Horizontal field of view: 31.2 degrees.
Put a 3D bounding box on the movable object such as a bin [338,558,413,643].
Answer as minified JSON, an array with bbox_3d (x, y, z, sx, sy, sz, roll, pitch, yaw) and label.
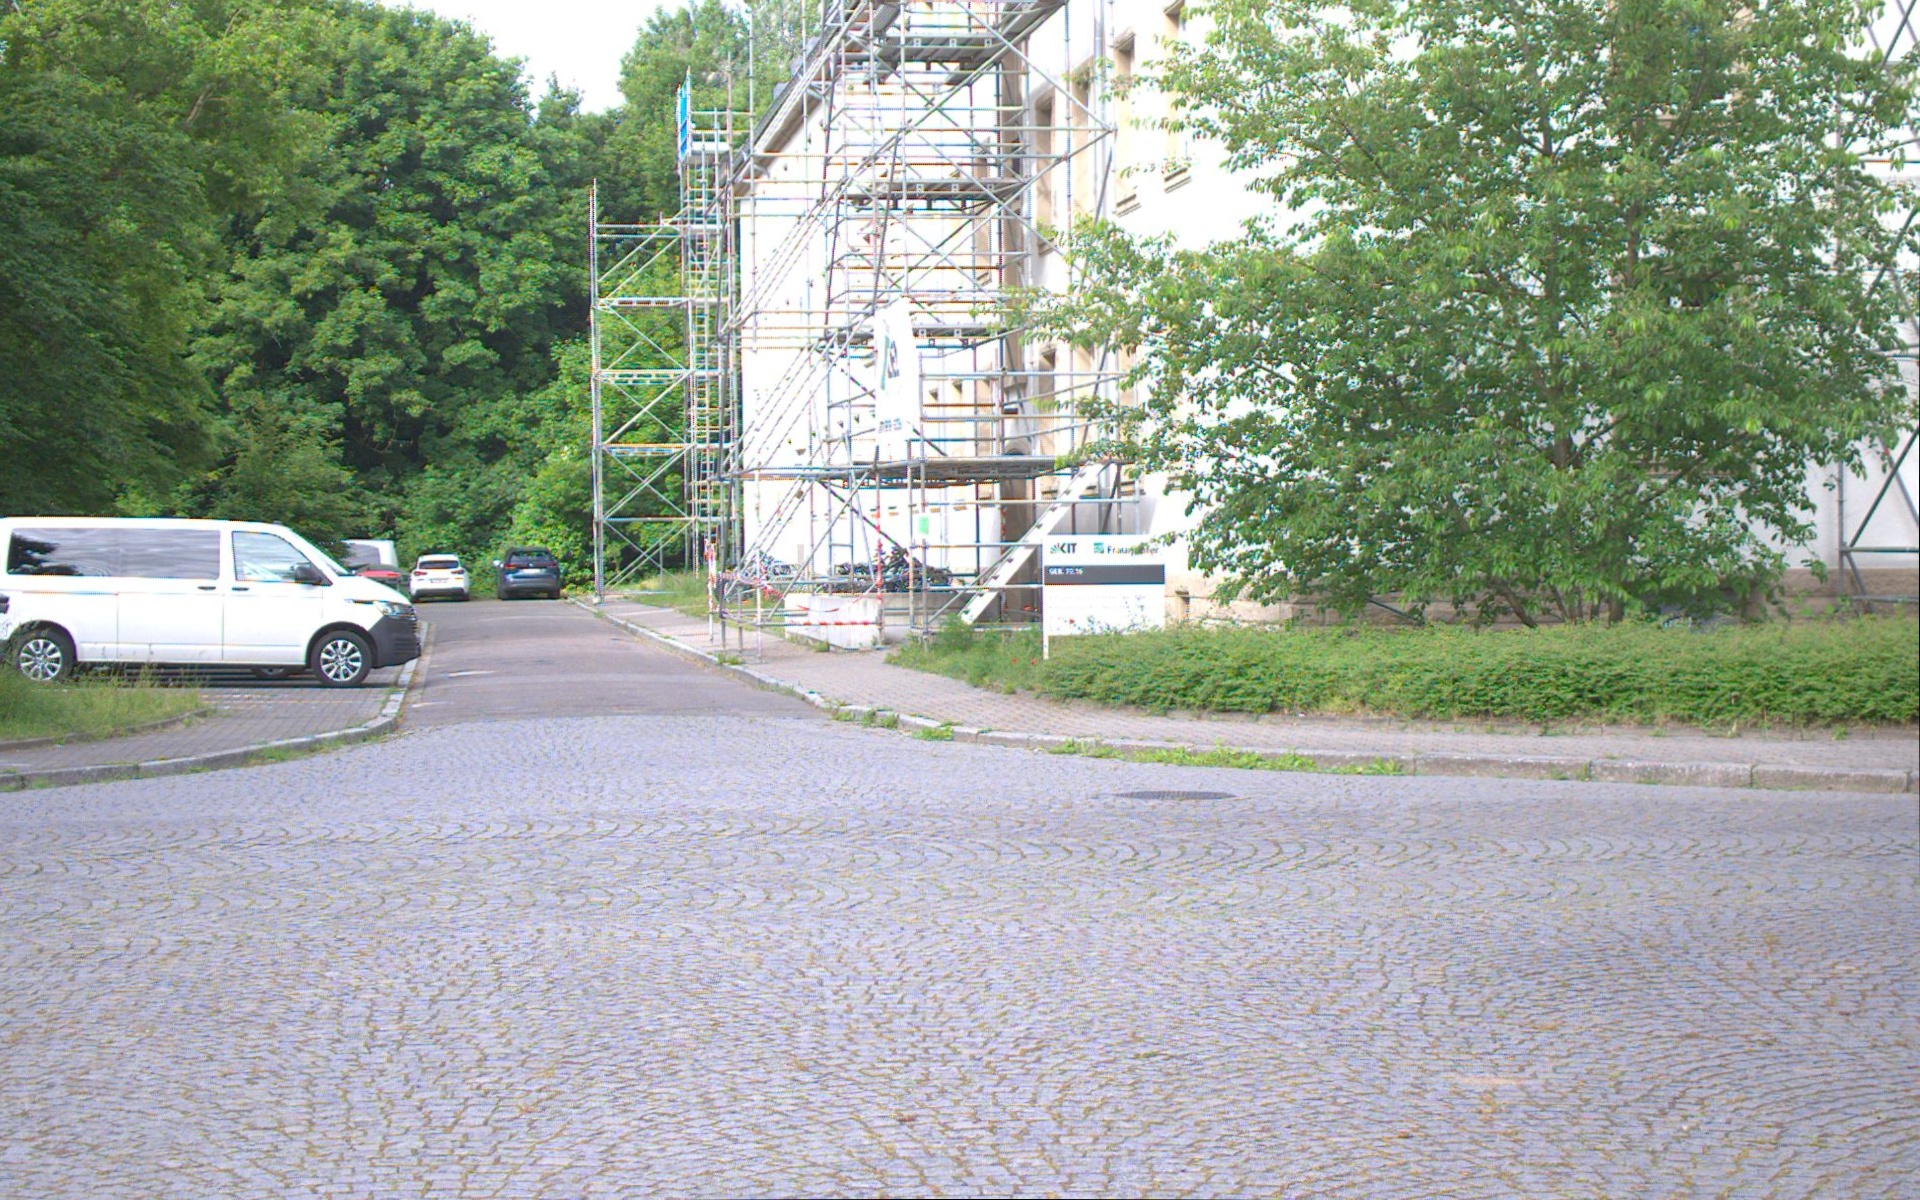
[{"bbox_3d":[-10.028,0.006,58.977,1.183,1.402,0.975,2,0,-7],"label":"movable object such as a bin"}]

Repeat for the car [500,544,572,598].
[{"bbox_3d":[-13.151,-0.878,106.783,2.063,1.588,4.001,2,0,-5],"label":"car"}]

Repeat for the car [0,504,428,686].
[{"bbox_3d":[-8.912,-0.053,40.537,5.199,2.053,2.189,1,0,-9],"label":"car"}]

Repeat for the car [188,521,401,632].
[{"bbox_3d":[-13.109,-0.456,67.666,3.986,2.007,1.922,2,0,-12],"label":"car"}]

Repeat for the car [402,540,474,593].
[{"bbox_3d":[-16.138,-1.012,106.139,2.001,1.542,3.959,2,0,-11],"label":"car"}]

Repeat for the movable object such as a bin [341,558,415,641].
[{"bbox_3d":[-10.170,-0.006,60.097,1.183,1.402,0.975,2,0,-7],"label":"movable object such as a bin"}]
